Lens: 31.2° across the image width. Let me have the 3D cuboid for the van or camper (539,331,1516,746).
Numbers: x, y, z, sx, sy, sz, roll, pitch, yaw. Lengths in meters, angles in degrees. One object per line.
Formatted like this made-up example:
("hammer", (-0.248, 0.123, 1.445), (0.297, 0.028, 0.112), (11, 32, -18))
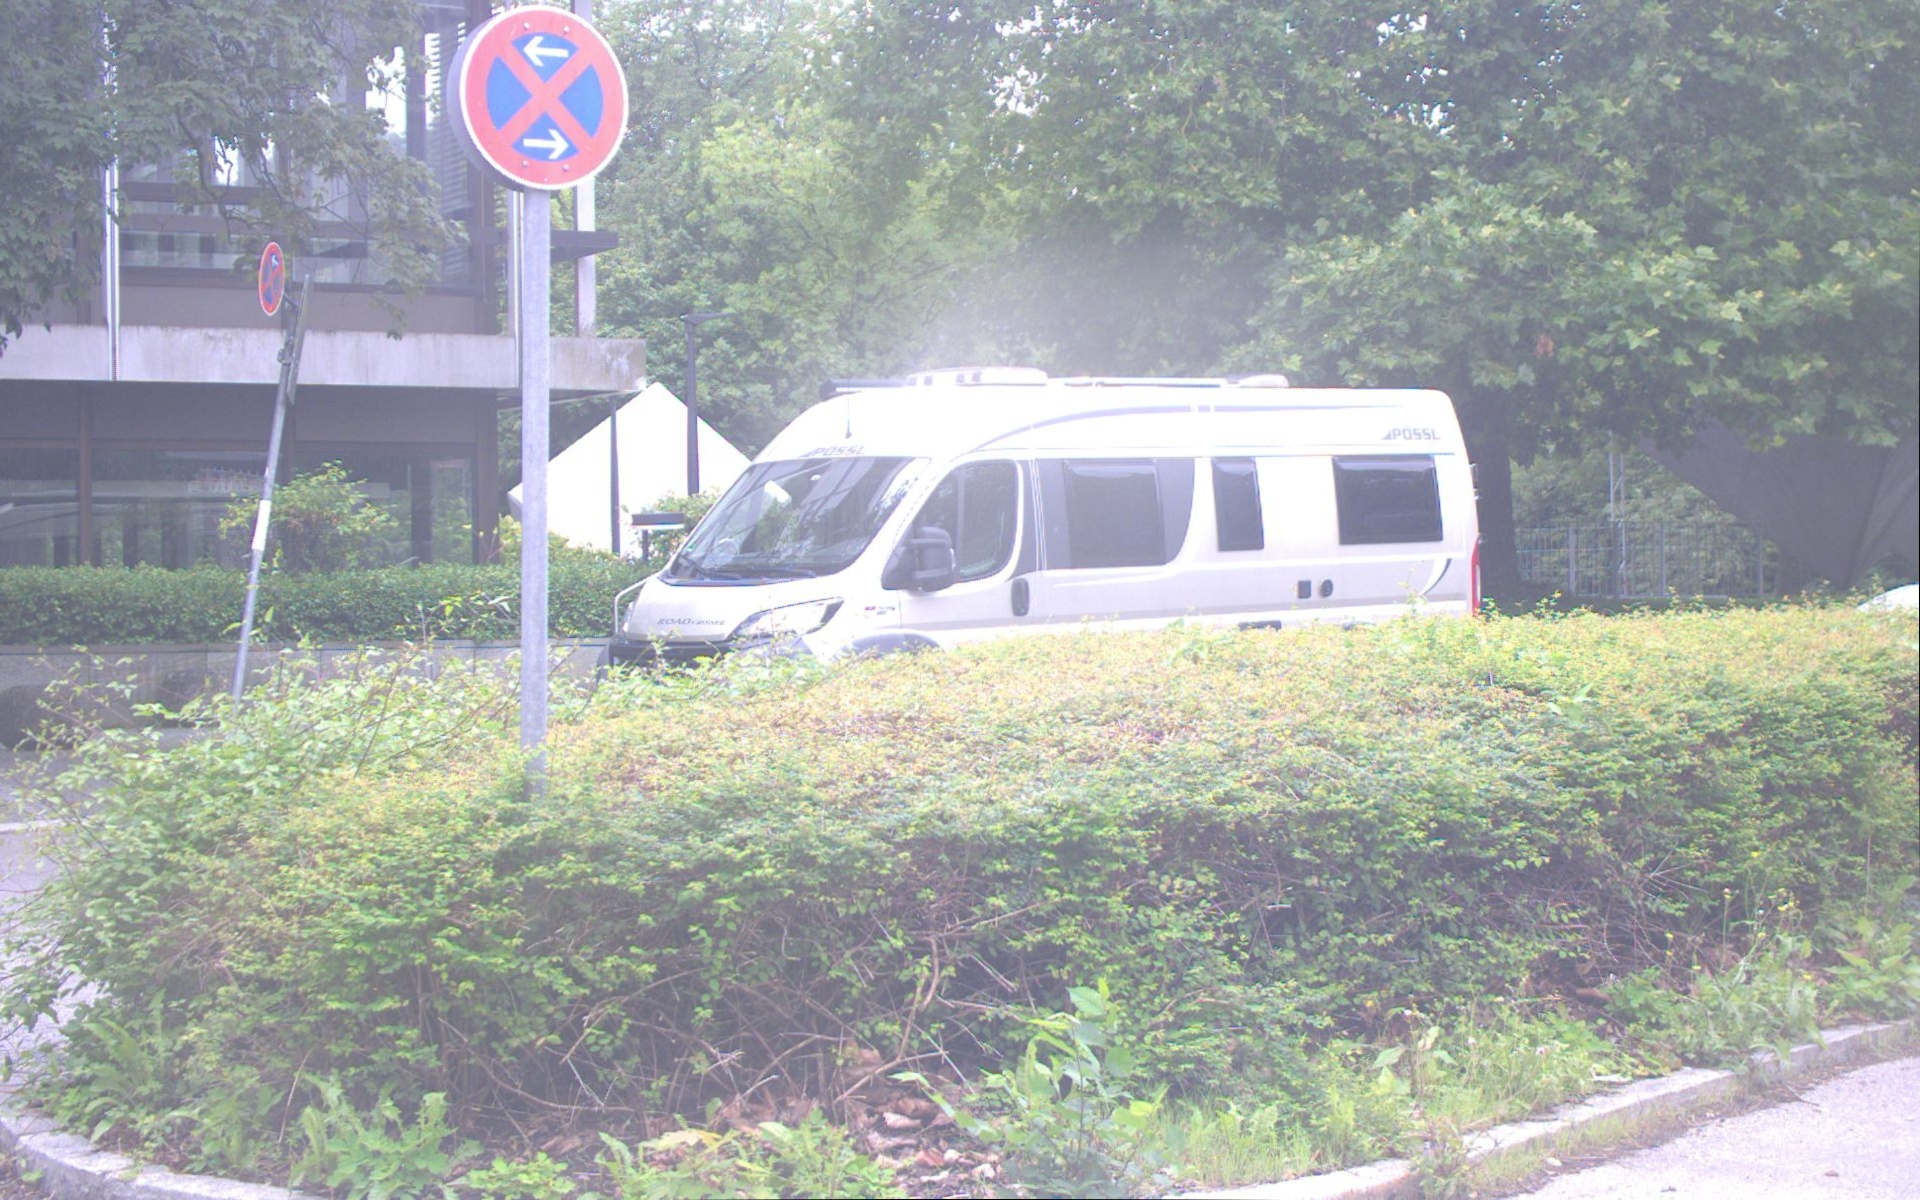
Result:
("van or camper", (0.617, -0.375, 21.830), (6.401, 2.274, 2.254), (-1, 1, -42))

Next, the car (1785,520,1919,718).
("car", (8.812, 0.109, 27.432), (3.986, 1.503, 2.000), (-1, 1, -27))
